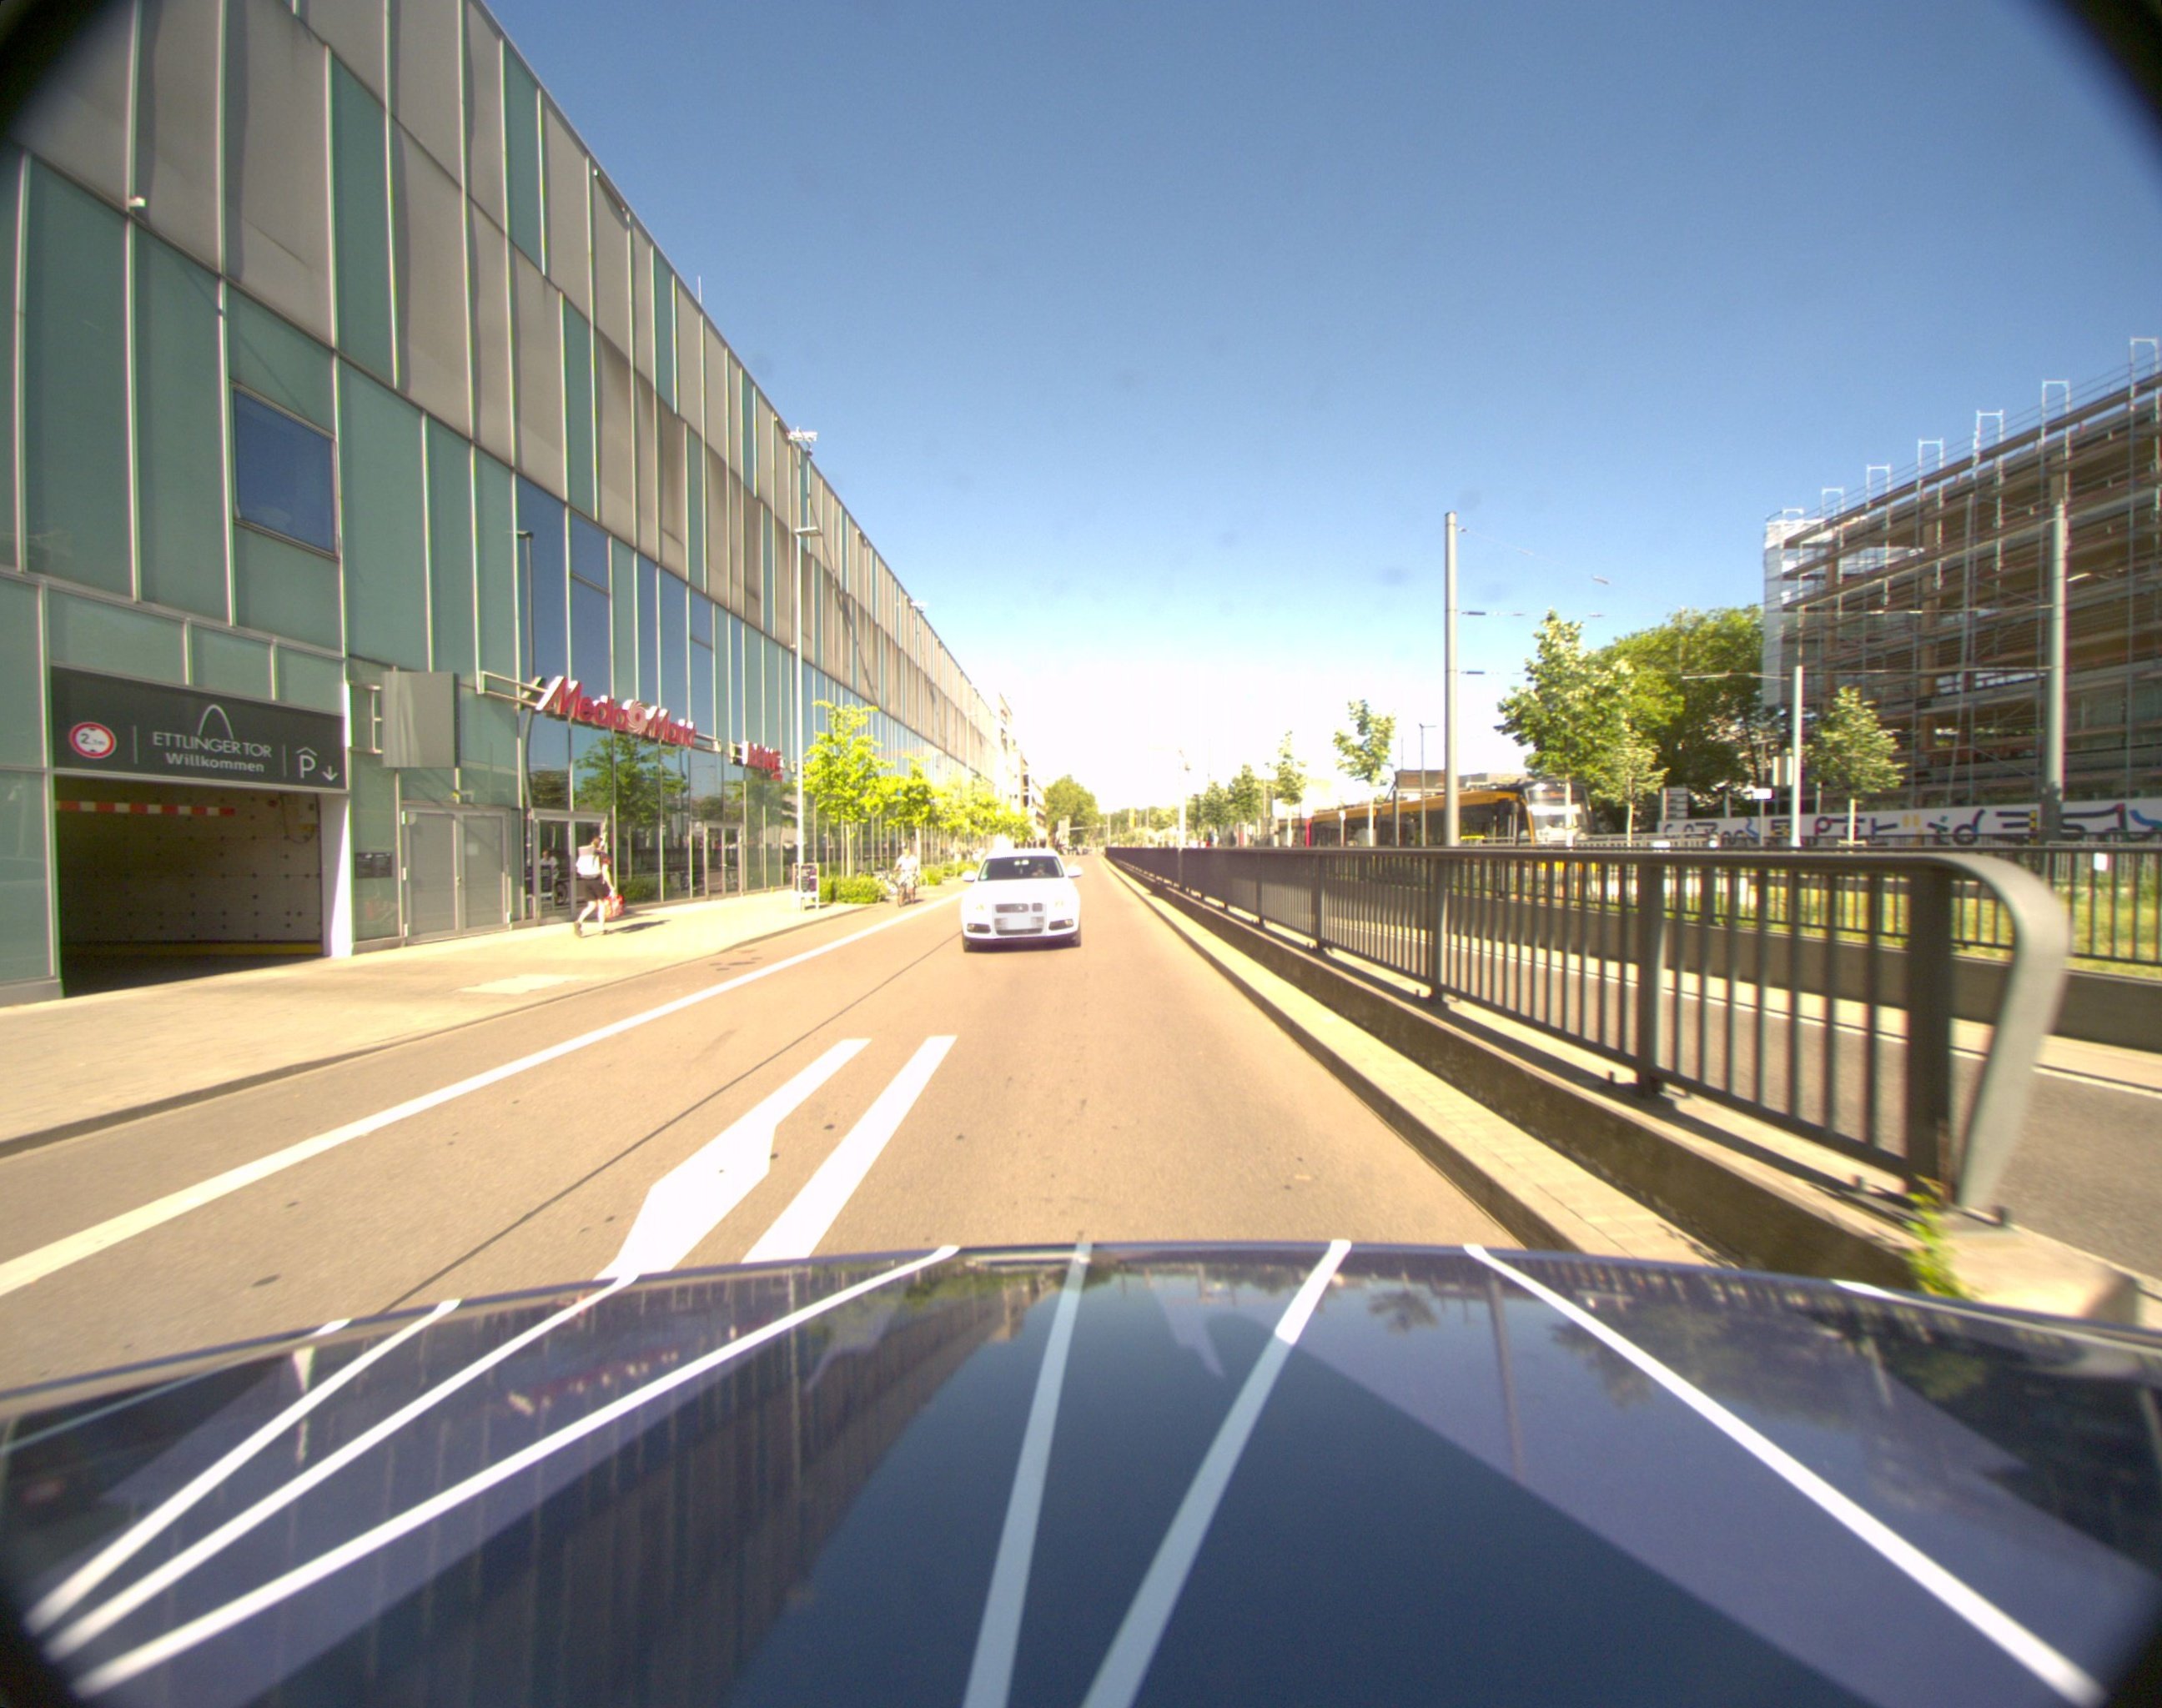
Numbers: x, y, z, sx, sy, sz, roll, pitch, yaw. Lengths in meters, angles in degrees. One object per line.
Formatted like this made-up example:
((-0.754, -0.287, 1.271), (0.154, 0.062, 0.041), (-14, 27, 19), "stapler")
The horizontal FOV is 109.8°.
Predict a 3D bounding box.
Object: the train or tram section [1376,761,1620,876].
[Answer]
((15.602, -1.243, 30.329), (2.822, 3.618, 12.787), (0, 1, 1), "train or tram section")

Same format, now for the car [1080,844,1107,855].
((1.812, -0.637, 110.121), (3.802, 1.527, 1.785), (-2, 1, -3), "car")

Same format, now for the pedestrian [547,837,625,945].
((-9.259, 0.672, 14.244), (0.877, 1.914, 0.895), (2, 3, 0), "pedestrian")

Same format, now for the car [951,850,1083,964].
((-1.020, 0.793, 13.454), (1.934, 1.624, 3.999), (-2, 1, -2), "car")

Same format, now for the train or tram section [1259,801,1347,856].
((15.946, -1.777, 55.905), (2.822, 3.618, 12.787), (0, 1, 1), "train or tram section")

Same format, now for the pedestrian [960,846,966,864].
((-11.082, 0.091, 71.171), (0.450, 1.681, 0.345), (-1, 1, 0), "pedestrian")

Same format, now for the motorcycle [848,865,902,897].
((-7.458, 0.964, 27.494), (1.876, 1.076, 0.645), (2, 2, 24), "motorcycle")

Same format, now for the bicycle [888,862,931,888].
((-7.250, 0.873, 32.139), (1.741, 1.056, 0.467), (2, 0, -15), "bicycle")

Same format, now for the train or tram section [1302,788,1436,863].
((15.782, -1.493, 43.124), (2.822, 3.618, 12.787), (0, 1, 1), "train or tram section")

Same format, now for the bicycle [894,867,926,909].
((-5.308, 1.034, 23.703), (0.610, 1.144, 1.986), (-3, 2, -4), "bicycle")

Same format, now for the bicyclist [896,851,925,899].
((-5.321, 0.634, 23.710), (0.755, 1.454, 0.587), (-1, 2, -4), "bicyclist")
